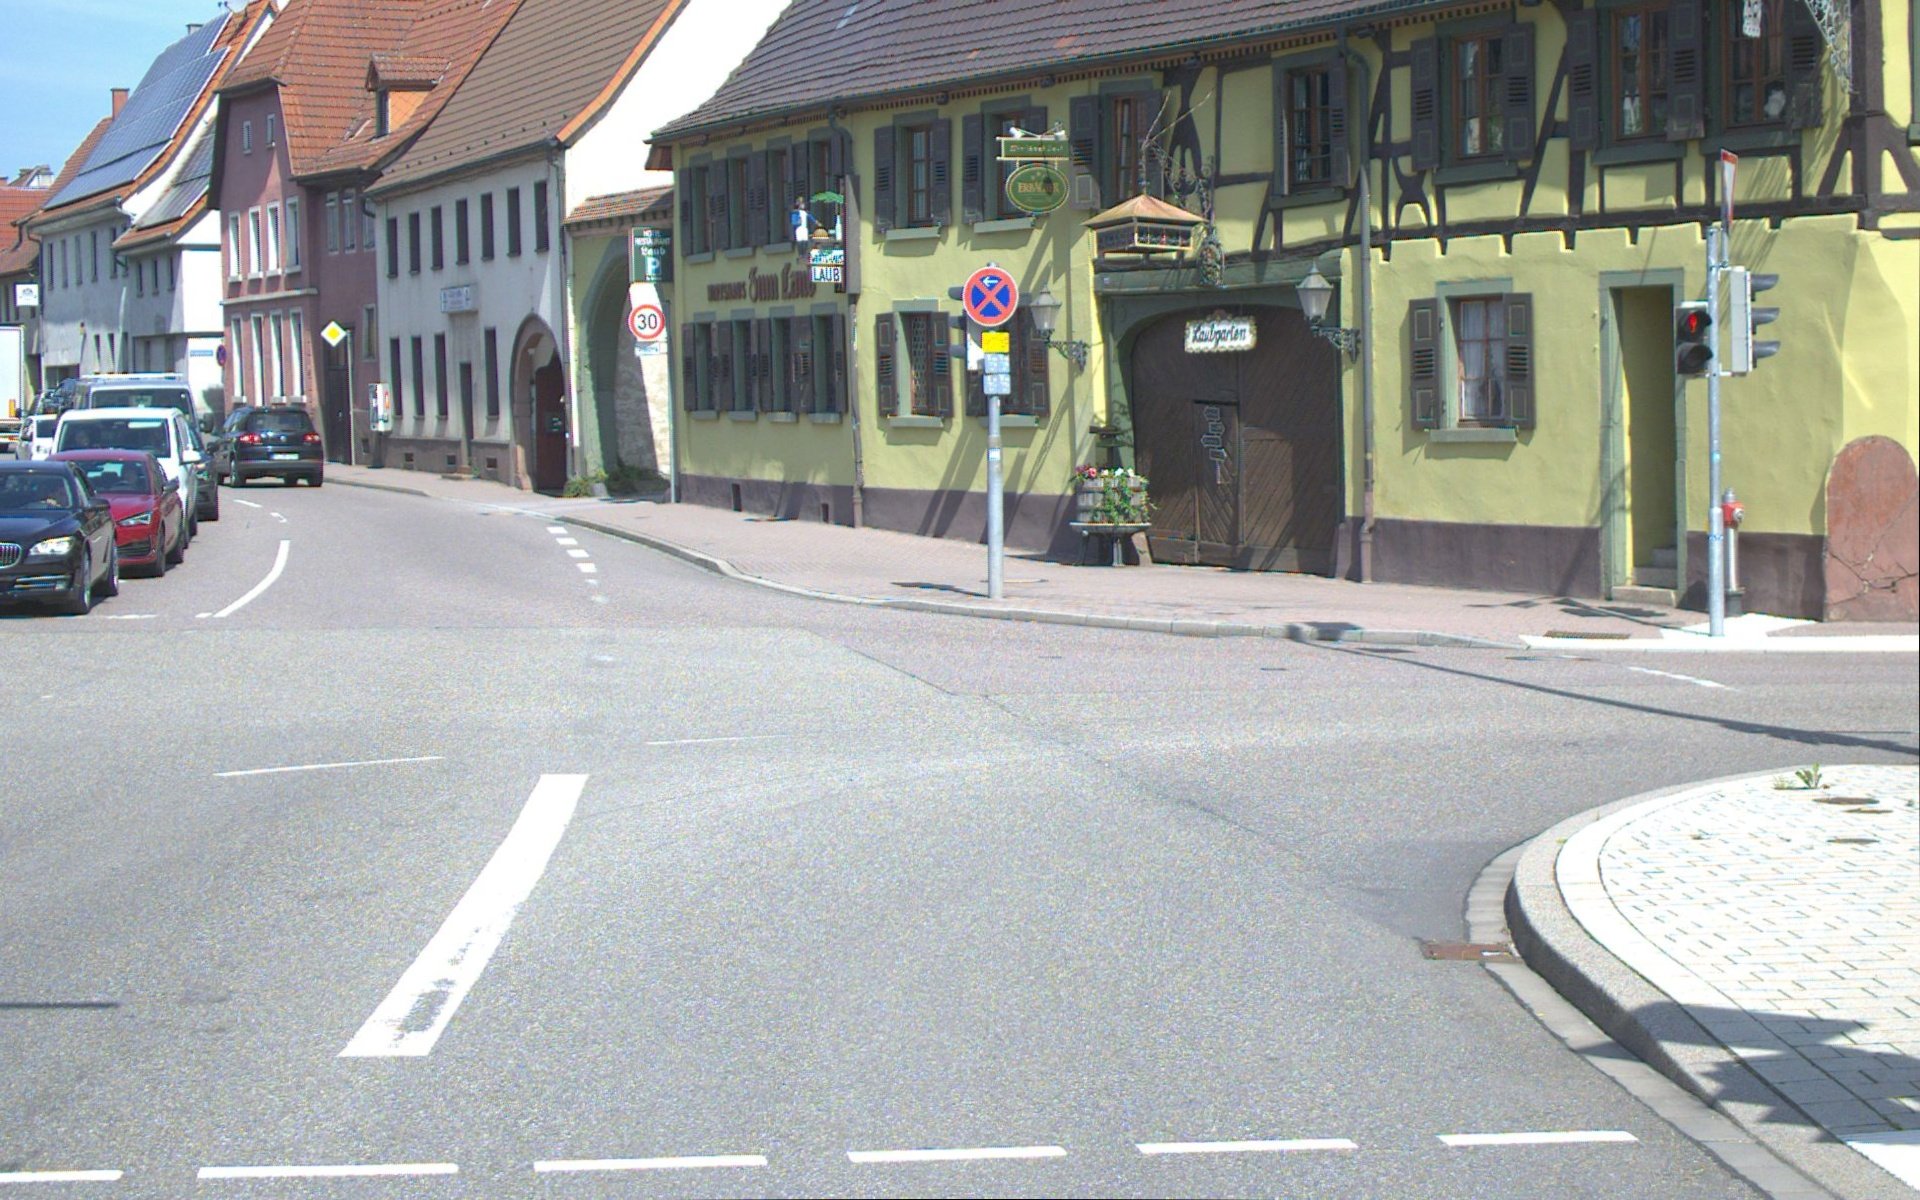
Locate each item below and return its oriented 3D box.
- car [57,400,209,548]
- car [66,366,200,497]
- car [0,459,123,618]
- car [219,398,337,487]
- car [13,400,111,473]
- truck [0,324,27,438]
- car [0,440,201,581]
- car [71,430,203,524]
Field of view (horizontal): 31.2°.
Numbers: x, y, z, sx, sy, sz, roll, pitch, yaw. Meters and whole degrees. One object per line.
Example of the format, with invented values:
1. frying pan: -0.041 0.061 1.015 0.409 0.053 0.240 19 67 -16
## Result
1. car: -11.532 -1.822 48.184 1.820 1.899 4.966 -1 4 -11
2. car: -15.030 -3.071 62.328 1.757 2.238 4.554 0 3 -21
3. car: -9.524 -0.659 34.457 1.820 1.429 4.250 -1 3 -9
4. car: -13.993 -3.254 70.397 1.820 1.732 4.007 -3 4 -18
5. car: -19.907 -3.637 76.154 1.785 1.521 4.007 -3 4 -18
6. truck: -32.720 -7.074 110.573 3.223 3.536 9.233 0 3 -28
7. car: -10.486 -1.137 41.543 2.158 1.510 4.950 0 4 -8
8. car: -13.090 -1.972 54.563 1.574 1.379 3.561 0 3 -21
